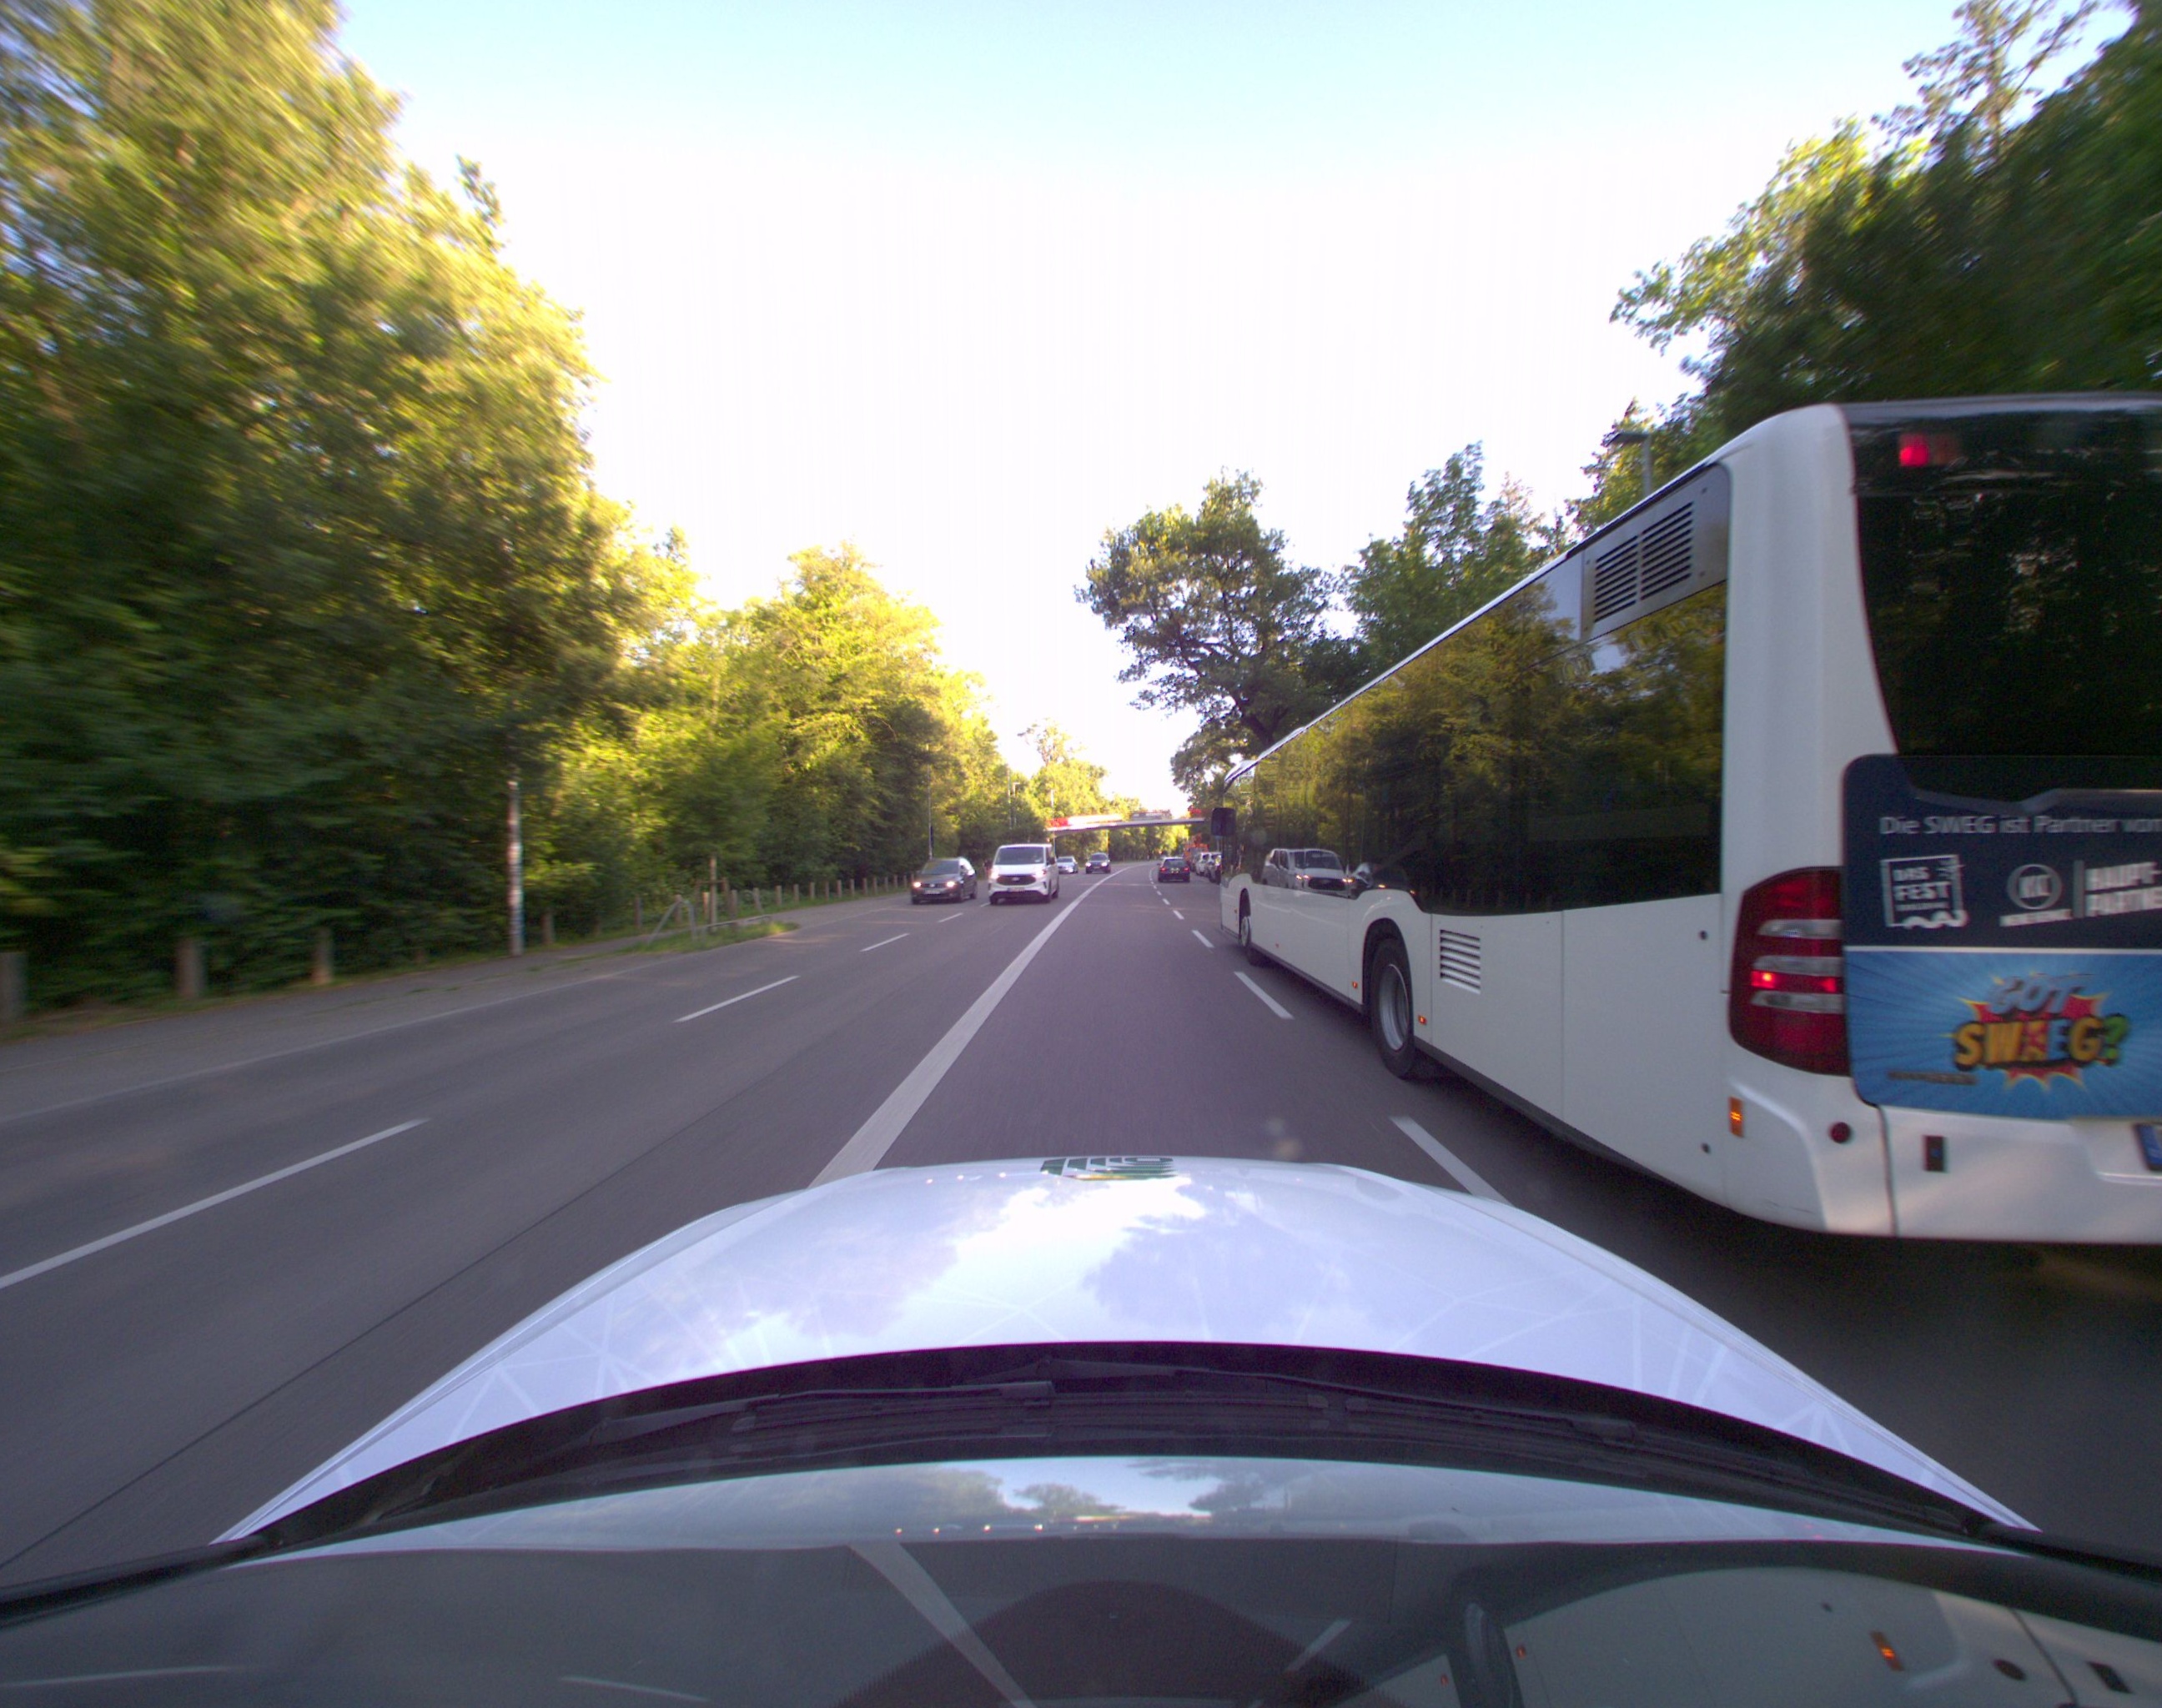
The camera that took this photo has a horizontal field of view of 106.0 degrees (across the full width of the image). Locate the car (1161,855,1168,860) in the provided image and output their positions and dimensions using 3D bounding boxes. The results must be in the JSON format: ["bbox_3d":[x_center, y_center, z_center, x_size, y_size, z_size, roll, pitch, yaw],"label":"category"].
[{"bbox_3d":[25.293,0.958,246.794,1.672,1.407,3.898,-4,-1,7],"label":"car"}]

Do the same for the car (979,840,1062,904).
[{"bbox_3d":[-1.951,0.562,27.944,2.197,1.961,4.917,-1,0,3],"label":"car"}]

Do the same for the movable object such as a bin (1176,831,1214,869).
[{"bbox_3d":[10.698,-0.359,77.000,2.748,3.370,7.603,-2,0,2],"label":"movable object such as a bin"}]

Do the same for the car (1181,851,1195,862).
[{"bbox_3d":[15.190,0.325,115.663,1.712,1.496,3.785,-4,-1,10],"label":"car"}]

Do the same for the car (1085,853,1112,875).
[{"bbox_3d":[1.501,0.805,68.379,1.909,1.704,4.448,-1,0,5],"label":"car"}]

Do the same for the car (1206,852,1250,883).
[{"bbox_3d":[7.670,0.694,42.840,1.720,1.524,4.093,-2,0,3],"label":"car"}]

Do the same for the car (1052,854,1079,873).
[{"bbox_3d":[-1.297,0.800,70.171,1.889,1.531,4.535,-2,0,5],"label":"car"}]

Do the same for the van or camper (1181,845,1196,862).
[{"bbox_3d":[16.727,-0.033,126.845,2.108,2.517,5.992,-2,0,7],"label":"van or camper"}]

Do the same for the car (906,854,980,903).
[{"bbox_3d":[-4.879,0.813,29.290,1.793,1.599,4.002,-2,0,2],"label":"car"}]

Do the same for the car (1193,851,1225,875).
[{"bbox_3d":[9.074,0.632,57.997,1.830,1.574,4.463,-1,0,3],"label":"car"}]

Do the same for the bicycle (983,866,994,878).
[{"bbox_3d":[-6.874,1.298,60.656,0.493,0.814,1.810,-4,0,4],"label":"bicycle"}]

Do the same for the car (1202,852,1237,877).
[{"bbox_3d":[8.918,0.648,52.716,1.720,1.542,4.093,-1,0,3],"label":"car"}]

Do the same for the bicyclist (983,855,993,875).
[{"bbox_3d":[-6.916,0.806,60.509,0.497,1.484,0.762,-4,0,4],"label":"bicyclist"}]

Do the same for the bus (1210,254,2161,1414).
[{"bbox_3d":[3.463,-0.040,8.399,2.694,3.222,12.284,-1,0,2],"label":"bus"}]

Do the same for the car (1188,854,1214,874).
[{"bbox_3d":[10.132,0.829,68.920,1.720,1.574,4.093,-1,0,3],"label":"car"}]

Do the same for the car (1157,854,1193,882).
[{"bbox_3d":[5.297,0.772,46.295,1.720,1.441,4.093,-1,0,3],"label":"car"}]
